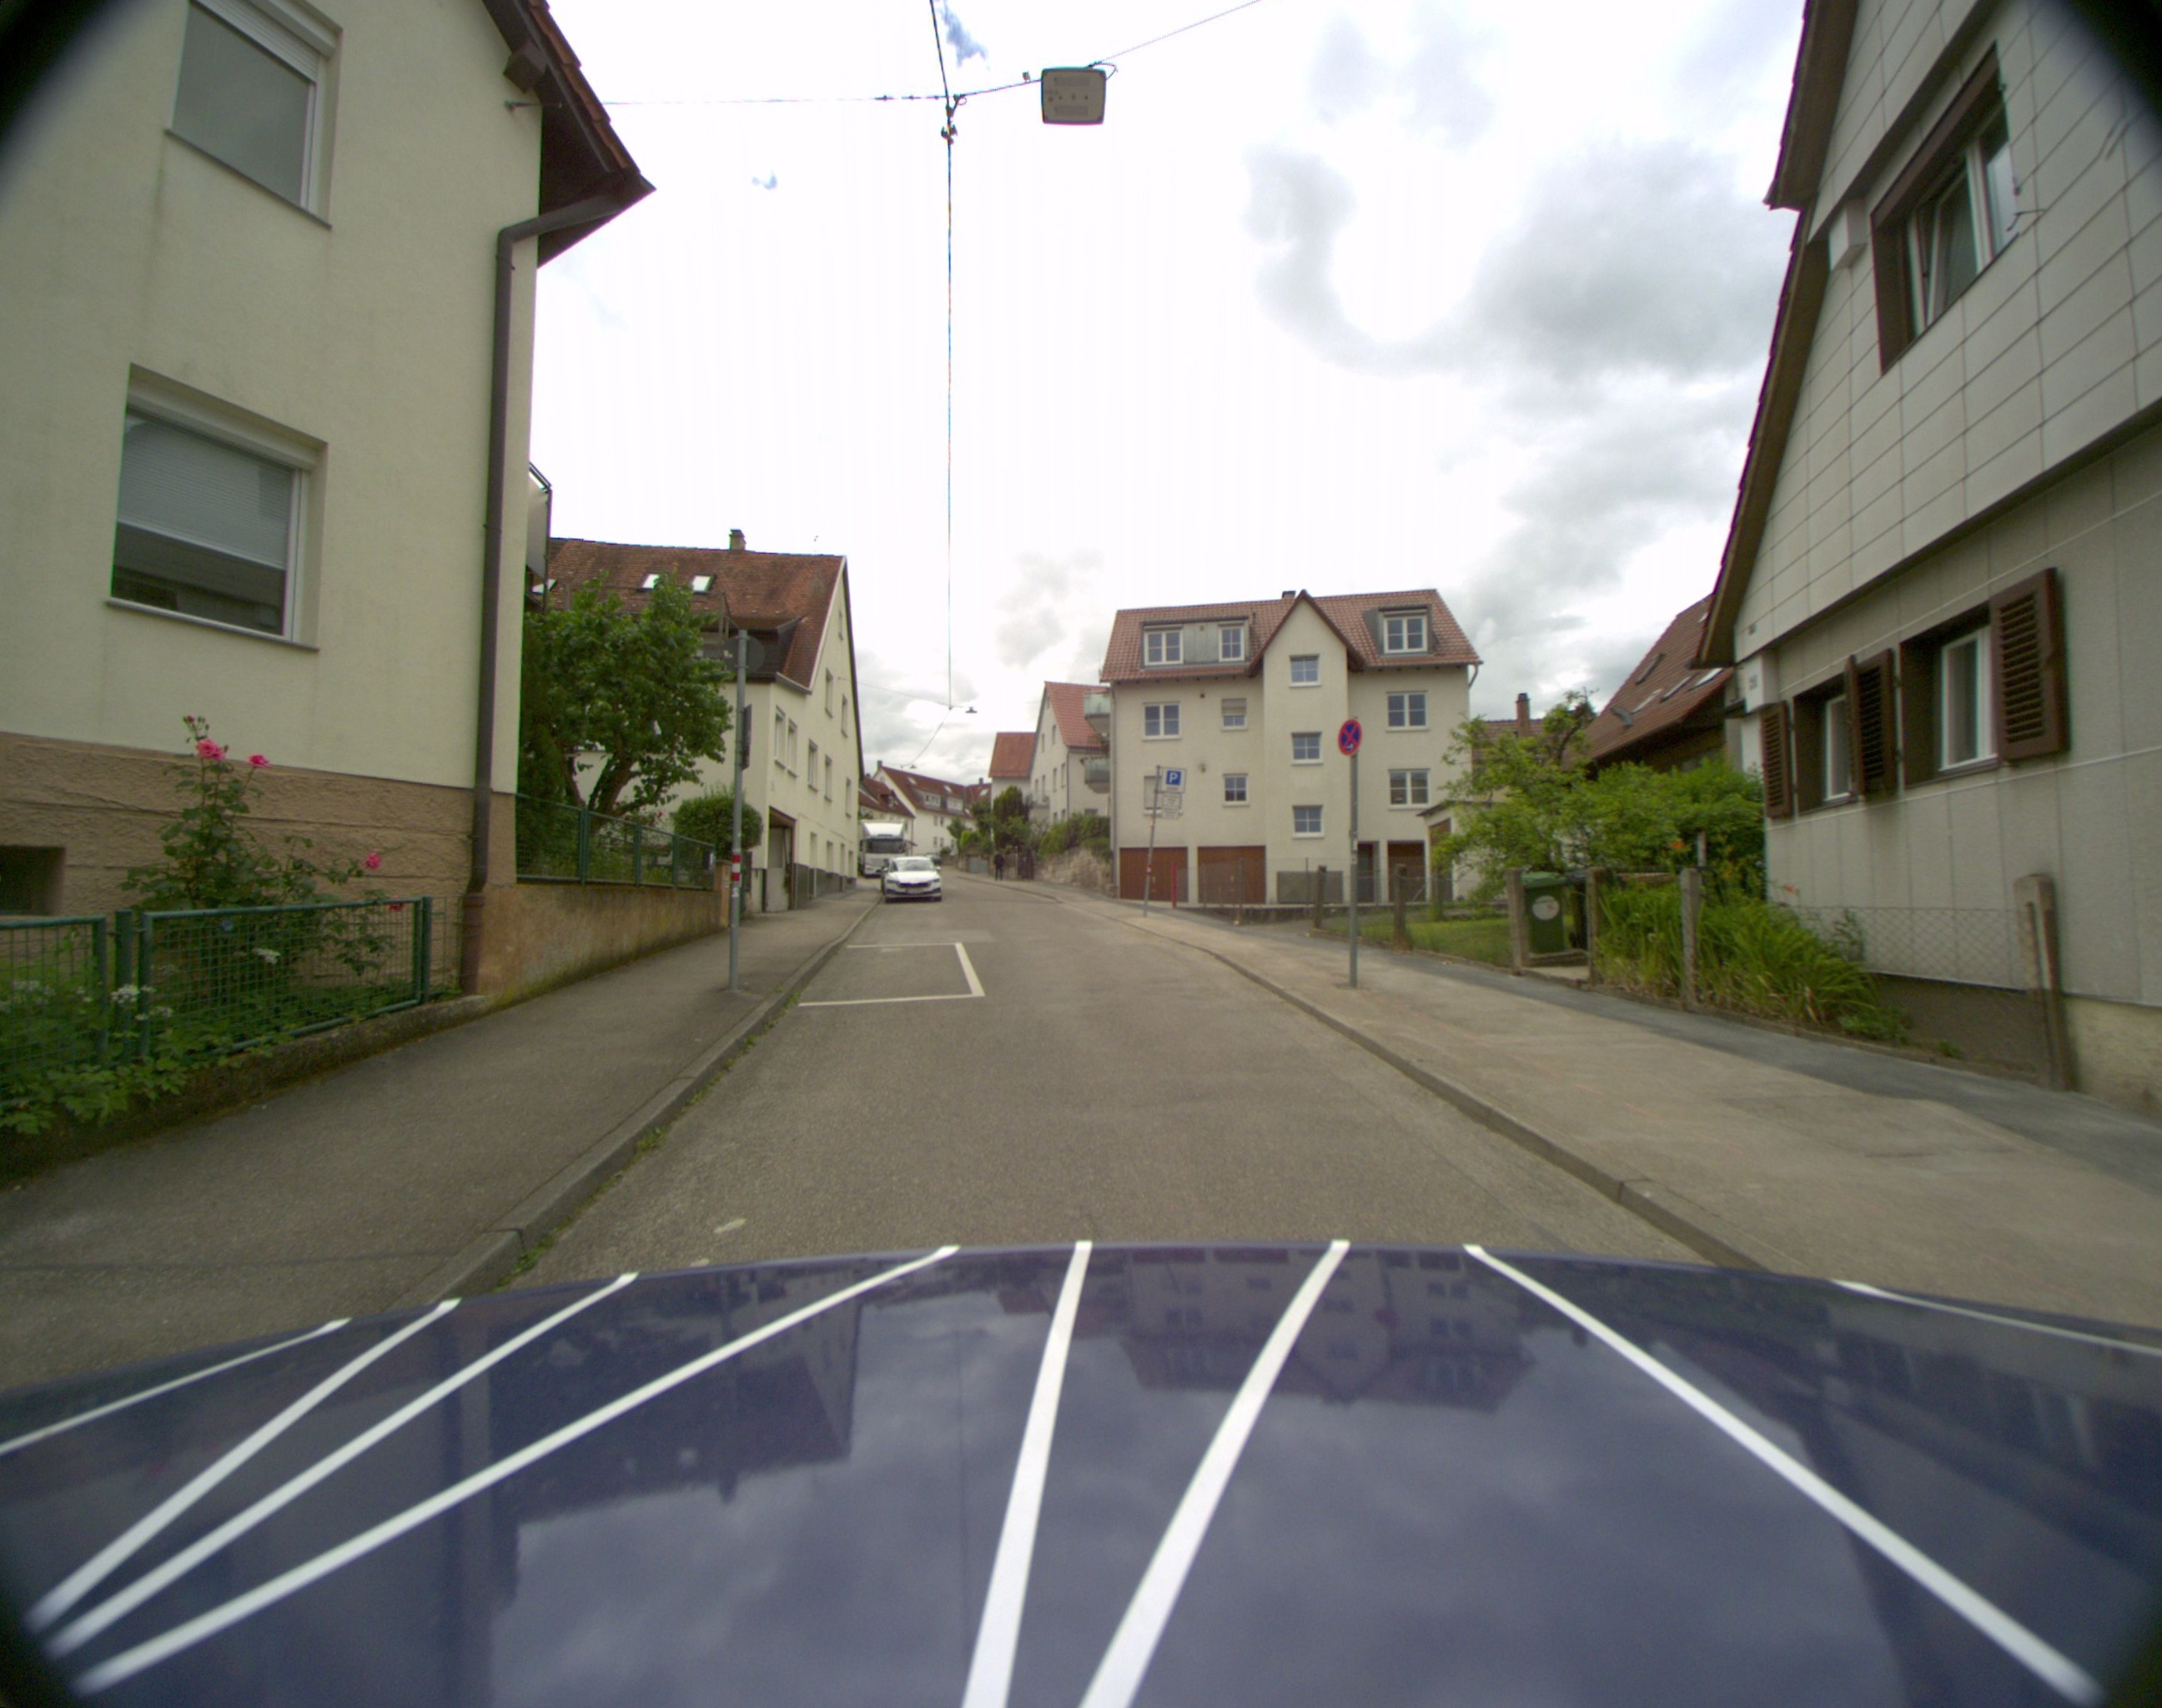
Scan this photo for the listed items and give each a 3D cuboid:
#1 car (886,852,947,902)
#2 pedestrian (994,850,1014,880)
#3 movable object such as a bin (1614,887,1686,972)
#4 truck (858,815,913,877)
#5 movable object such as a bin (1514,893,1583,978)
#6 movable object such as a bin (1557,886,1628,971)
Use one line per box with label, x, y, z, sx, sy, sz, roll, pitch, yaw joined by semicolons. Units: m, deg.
car;-5.574;0.709;25.522;1.801;1.437;4.291;-2;1;-14
pedestrian;-4.331;0.610;42.676;0.843;1.668;0.975;-2;2;-18
movable object such as a bin;6.372;0.840;8.522;0.495;0.873;0.453;-3;2;18
truck;-12.496;-0.493;48.178;2.687;3.576;8.091;0;0;-19
movable object such as a bin;5.279;0.916;8.597;0.527;0.879;0.490;-4;2;18
movable object such as a bin;5.864;0.849;8.735;0.527;0.912;0.490;-3;2;18
